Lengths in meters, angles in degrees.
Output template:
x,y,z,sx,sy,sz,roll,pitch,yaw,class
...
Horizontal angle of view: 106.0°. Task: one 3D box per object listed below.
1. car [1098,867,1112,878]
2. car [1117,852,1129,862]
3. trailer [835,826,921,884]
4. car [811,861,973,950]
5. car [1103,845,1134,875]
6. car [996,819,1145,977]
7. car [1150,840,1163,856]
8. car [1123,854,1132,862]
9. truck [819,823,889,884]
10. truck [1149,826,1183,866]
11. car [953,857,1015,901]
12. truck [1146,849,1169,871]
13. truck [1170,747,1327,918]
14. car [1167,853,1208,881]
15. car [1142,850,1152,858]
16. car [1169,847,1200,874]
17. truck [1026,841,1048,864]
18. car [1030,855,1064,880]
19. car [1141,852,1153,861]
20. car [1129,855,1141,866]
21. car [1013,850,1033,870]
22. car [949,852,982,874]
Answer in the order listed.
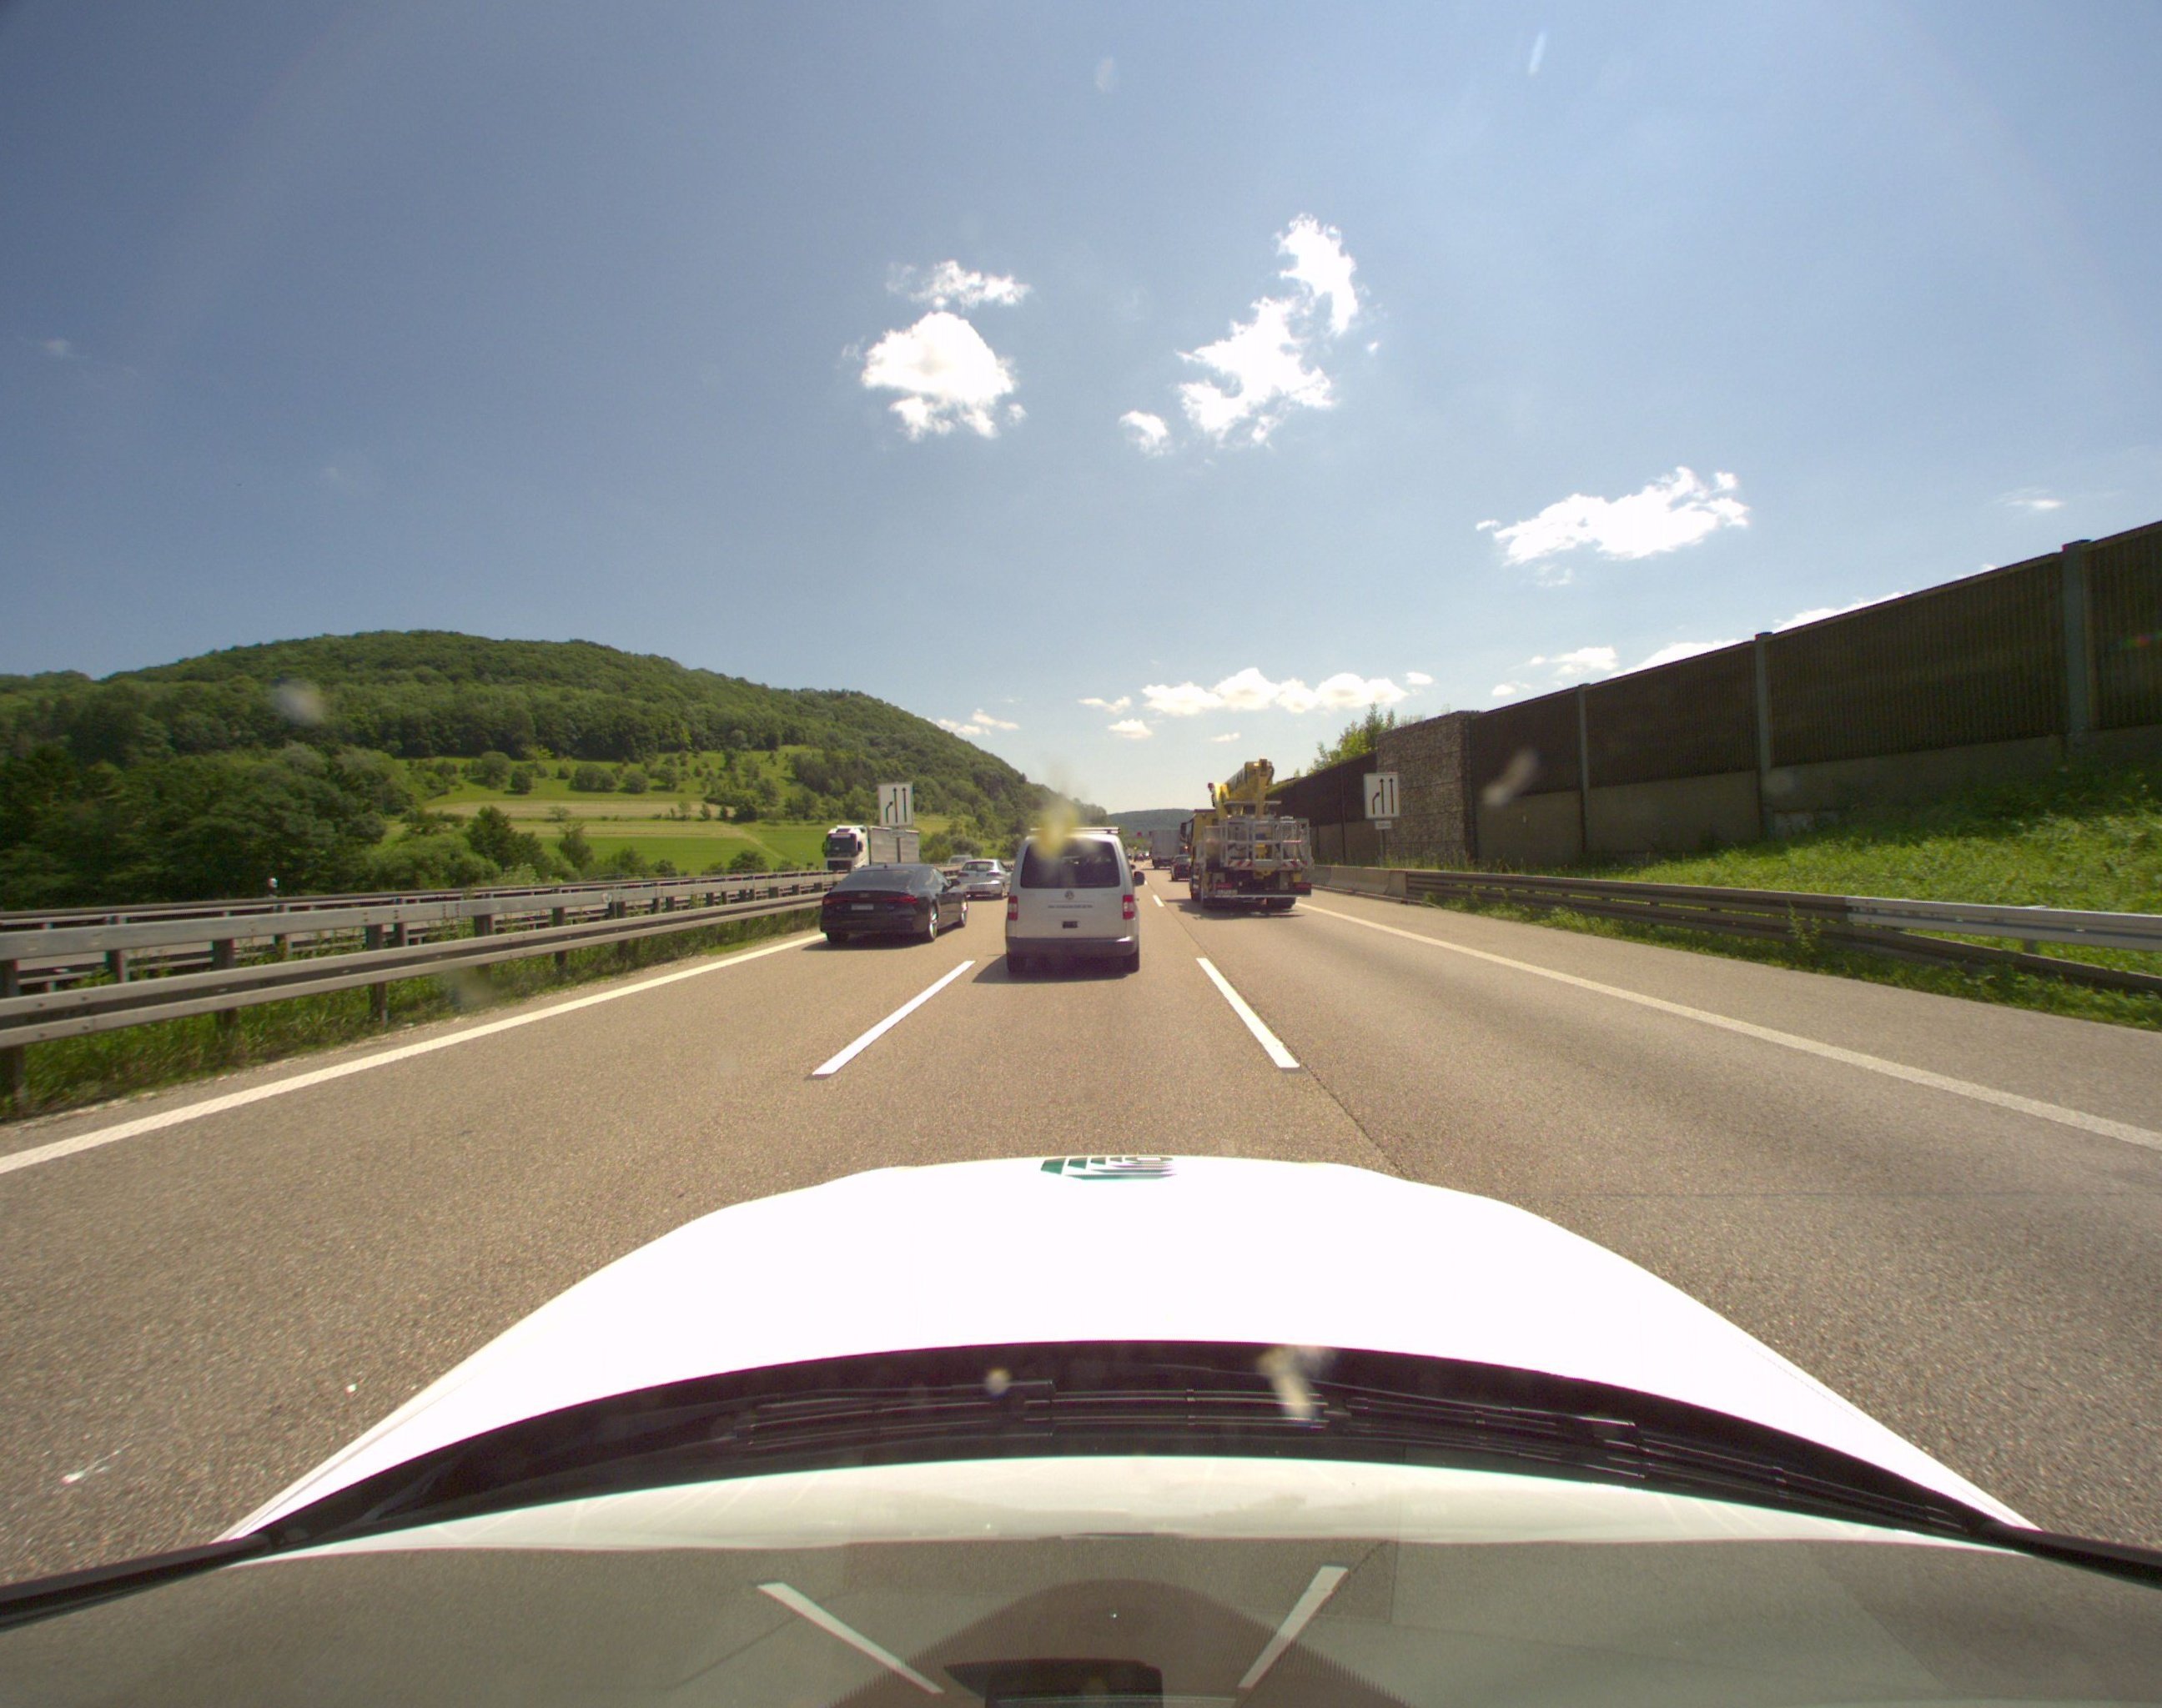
x,y,z,sx,sy,sz,roll,pitch,yaw,class
3.859,2.944,130.155,2.105,1.828,4.003,0,-1,3,car
8.083,0.599,156.725,2.107,1.828,3.999,0,-1,0,car
-16.243,0.130,66.510,2.843,4.191,13.626,0,-1,3,trailer
-3.439,0.869,15.896,1.794,1.390,4.972,-1,0,2,car
2.560,0.419,56.550,1.987,1.975,4.000,-1,0,0,car
-0.112,0.536,11.831,1.750,1.868,4.000,-1,0,0,car
10.871,-0.831,117.195,1.667,2.295,4.001,0,-1,2,car
10.183,0.907,178.525,1.986,1.805,4.001,0,-1,1,car
-16.618,0.027,60.264,2.786,4.232,7.236,0,-1,3,truck
8.347,-0.721,81.131,2.928,3.823,8.242,0,-1,3,truck
-3.447,0.853,29.522,1.690,1.445,3.862,-1,0,1,car
9.593,0.741,102.758,2.381,2.541,5.941,-1,0,1,truck
4.383,-0.498,23.396,2.695,3.942,8.721,-1,0,0,truck
5.877,0.723,45.389,1.780,1.458,3.770,-1,0,0,car
14.701,0.023,181.650,2.107,1.828,3.999,0,-1,0,car
8.086,0.478,64.066,1.986,2.013,4.001,-1,0,2,car
-8.287,-0.279,154.578,3.265,4.148,6.960,-1,-1,3,truck
-2.102,0.819,50.973,1.918,1.499,4.000,-1,0,0,car
13.339,0.491,164.135,2.107,1.828,3.999,0,-1,0,car
9.281,1.092,139.177,1.985,1.749,4.003,0,-1,3,car
-8.662,0.914,121.519,2.147,2.862,6.403,0,-1,3,car
-9.994,0.798,70.841,1.985,1.853,4.410,0,0,3,car
